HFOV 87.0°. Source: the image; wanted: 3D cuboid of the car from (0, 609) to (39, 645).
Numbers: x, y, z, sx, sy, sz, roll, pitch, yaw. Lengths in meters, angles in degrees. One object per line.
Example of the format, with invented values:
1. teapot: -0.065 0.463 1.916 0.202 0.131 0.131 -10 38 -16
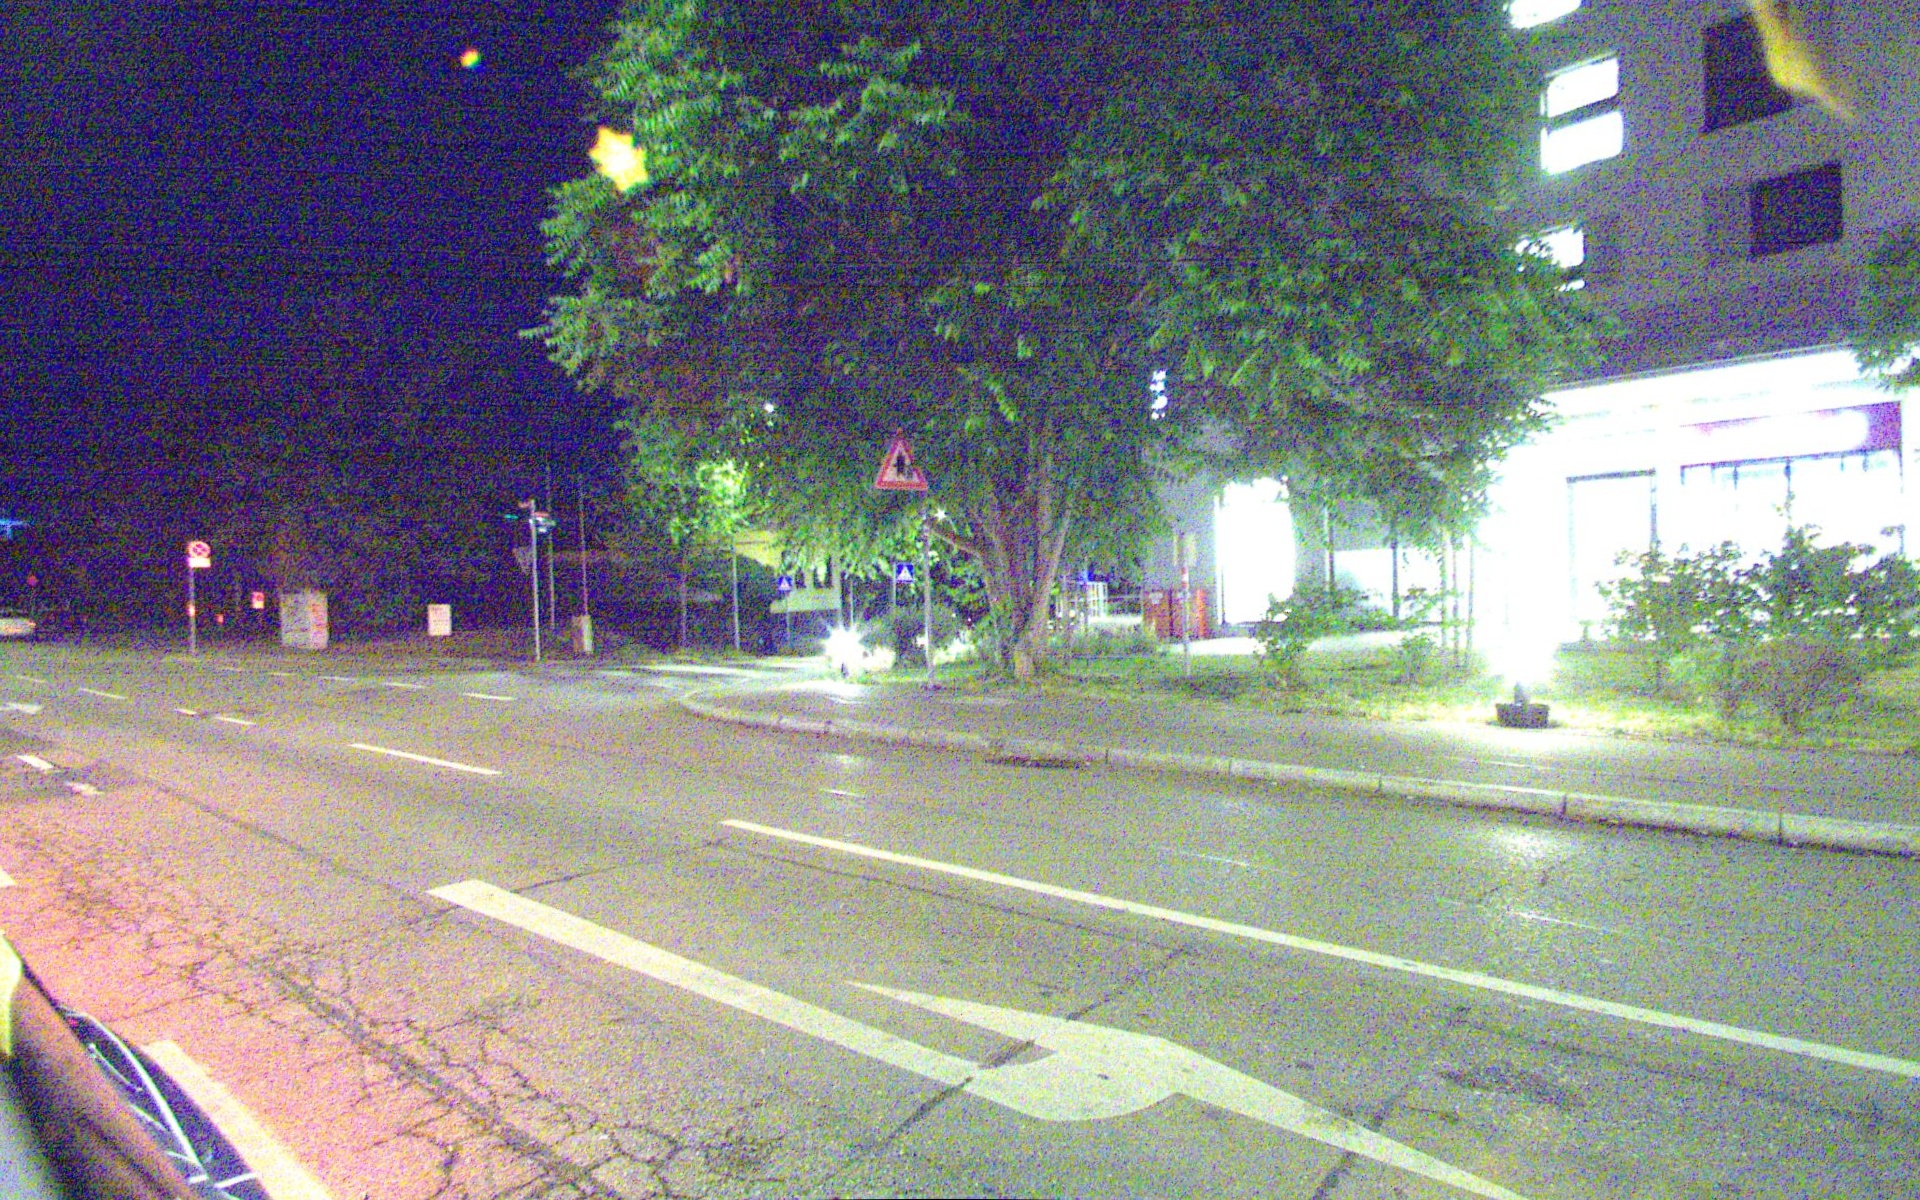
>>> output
1. car: -43.265 1.207 45.797 3.998 1.464 1.887 1 2 41
